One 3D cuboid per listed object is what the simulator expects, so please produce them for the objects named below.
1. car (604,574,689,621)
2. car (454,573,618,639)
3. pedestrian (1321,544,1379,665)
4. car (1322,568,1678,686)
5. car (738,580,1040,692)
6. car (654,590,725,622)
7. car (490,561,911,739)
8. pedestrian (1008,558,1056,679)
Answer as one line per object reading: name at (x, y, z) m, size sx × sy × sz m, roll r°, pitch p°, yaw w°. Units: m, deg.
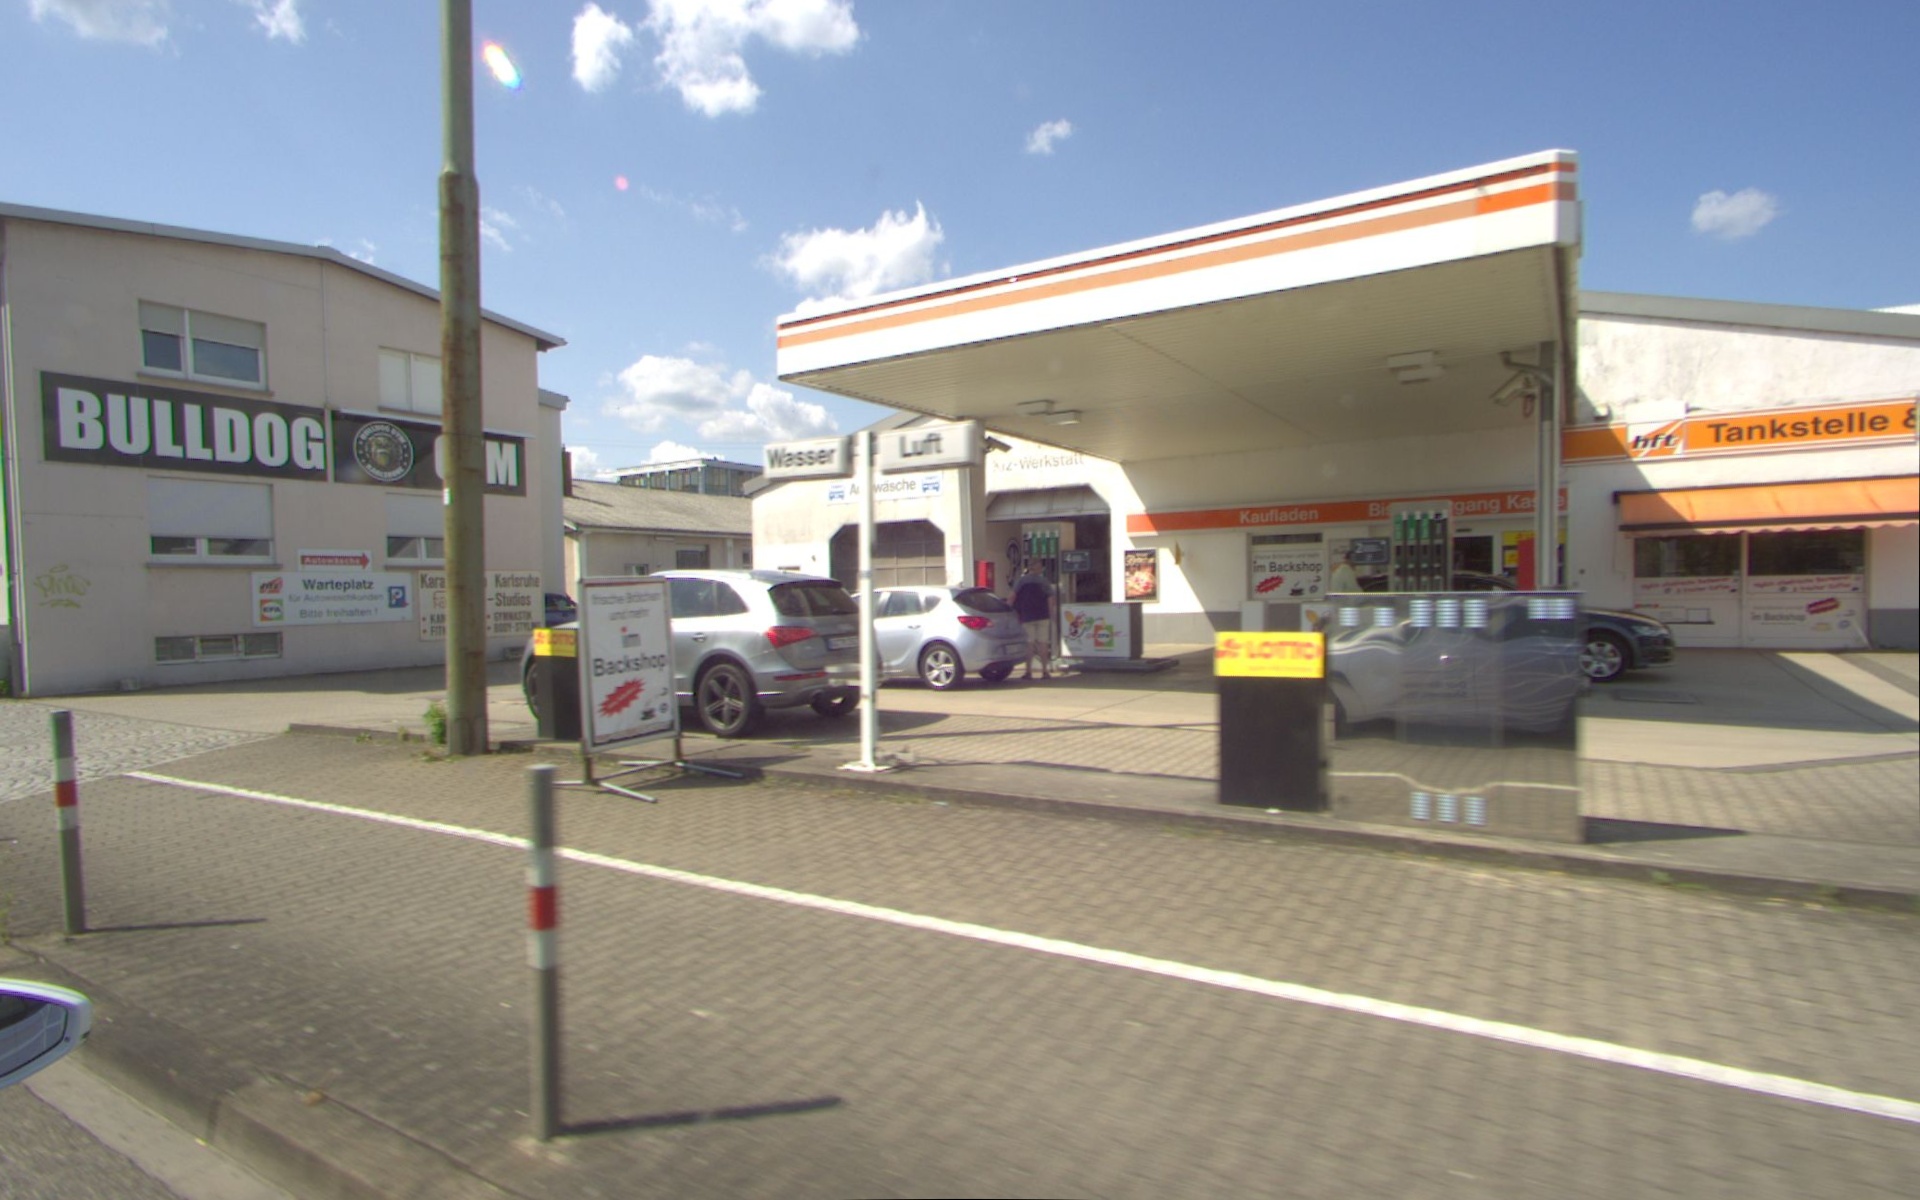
car at (-14.644, -0.060, 46.681) m, size 3.790 × 2.058 × 1.783 m, roll -1°, pitch -1°, yaw 33°
car at (-12.026, 0.217, 28.665) m, size 1.970 × 1.738 × 3.984 m, roll -1°, pitch -1°, yaw 29°
pedestrian at (5.792, 0.076, 14.874) m, size 0.677 × 1.744 × 0.616 m, roll -1°, pitch -1°, yaw 33°
car at (7.886, 0.296, 14.925) m, size 4.428 × 1.541 × 1.678 m, roll 1°, pitch 2°, yaw 33°
car at (-1.126, 0.517, 15.236) m, size 4.358 × 1.491 × 1.689 m, roll -1°, pitch 1°, yaw 30°
car at (-13.318, 0.318, 49.284) m, size 3.366 × 1.499 × 1.494 m, roll -1°, pitch -1°, yaw 33°
car at (-2.982, 0.474, 11.255) m, size 4.548 × 1.647 × 1.942 m, roll -1°, pitch 1°, yaw 31°
pedestrian at (1.097, 0.280, 15.209) m, size 0.569 × 1.799 × 0.496 m, roll -1°, pitch -1°, yaw 30°
